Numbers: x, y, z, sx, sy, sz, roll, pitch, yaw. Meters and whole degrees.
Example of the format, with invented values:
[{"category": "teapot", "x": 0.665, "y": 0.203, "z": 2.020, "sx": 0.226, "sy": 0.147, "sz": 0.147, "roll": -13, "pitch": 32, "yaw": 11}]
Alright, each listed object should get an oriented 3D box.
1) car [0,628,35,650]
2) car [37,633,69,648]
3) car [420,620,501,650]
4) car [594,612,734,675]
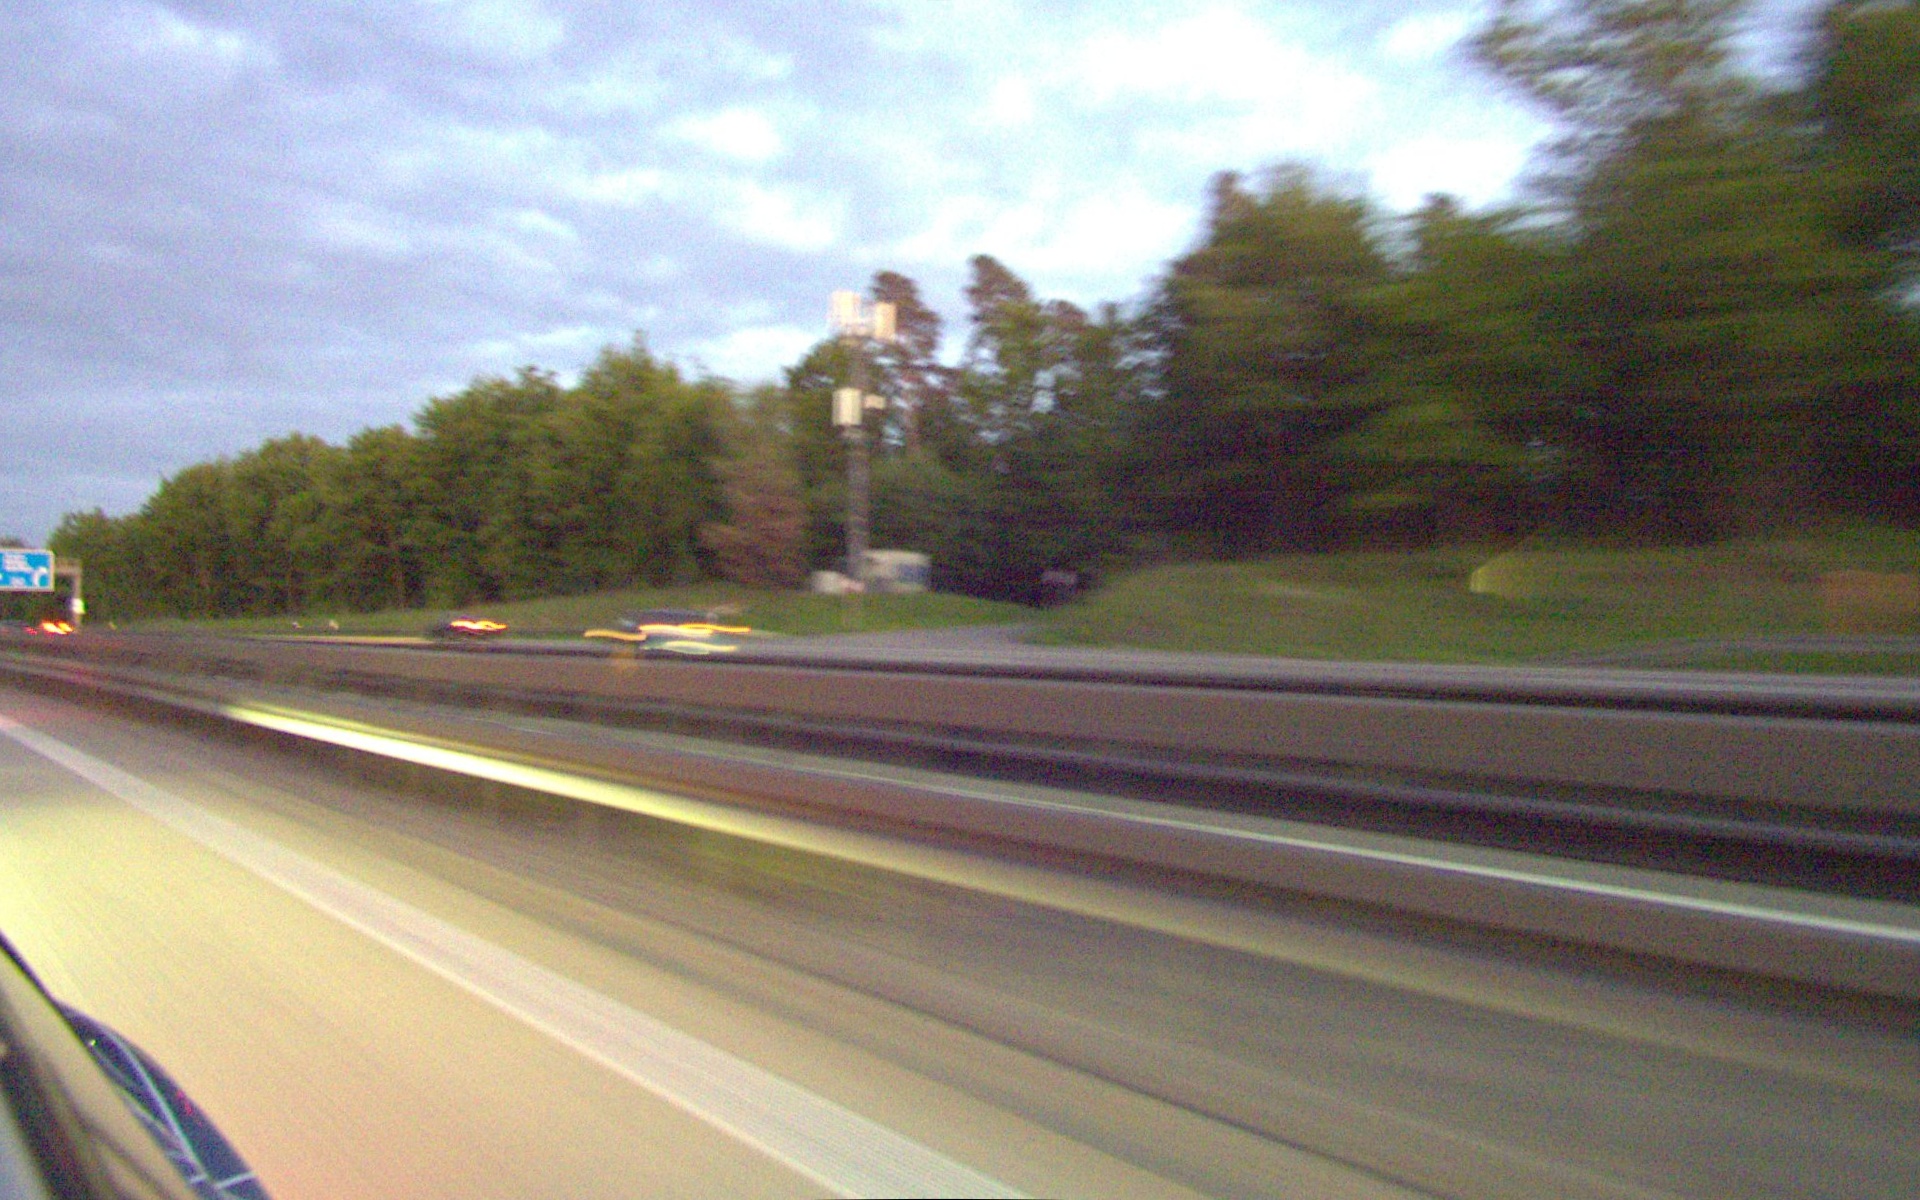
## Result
[{"category": "car", "x": -63.024, "y": 2.567, "z": 67.134, "sx": 4.903, "sy": 1.391, "sz": 1.797, "roll": -2, "pitch": -1, "yaw": 40}, {"category": "car", "x": -97.169, "y": 4.336, "z": 108.451, "sx": 4.589, "sy": 1.508, "sz": 1.832, "roll": -2, "pitch": -2, "yaw": 39}, {"category": "car", "x": -25.072, "y": 1.759, "z": 50.694, "sx": 4.903, "sy": 1.391, "sz": 1.797, "roll": -2, "pitch": -1, "yaw": 40}, {"category": "car", "x": -7.650, "y": 1.085, "z": 26.029, "sx": 3.601, "sy": 1.466, "sz": 1.823, "roll": -2, "pitch": -1, "yaw": 42}]
